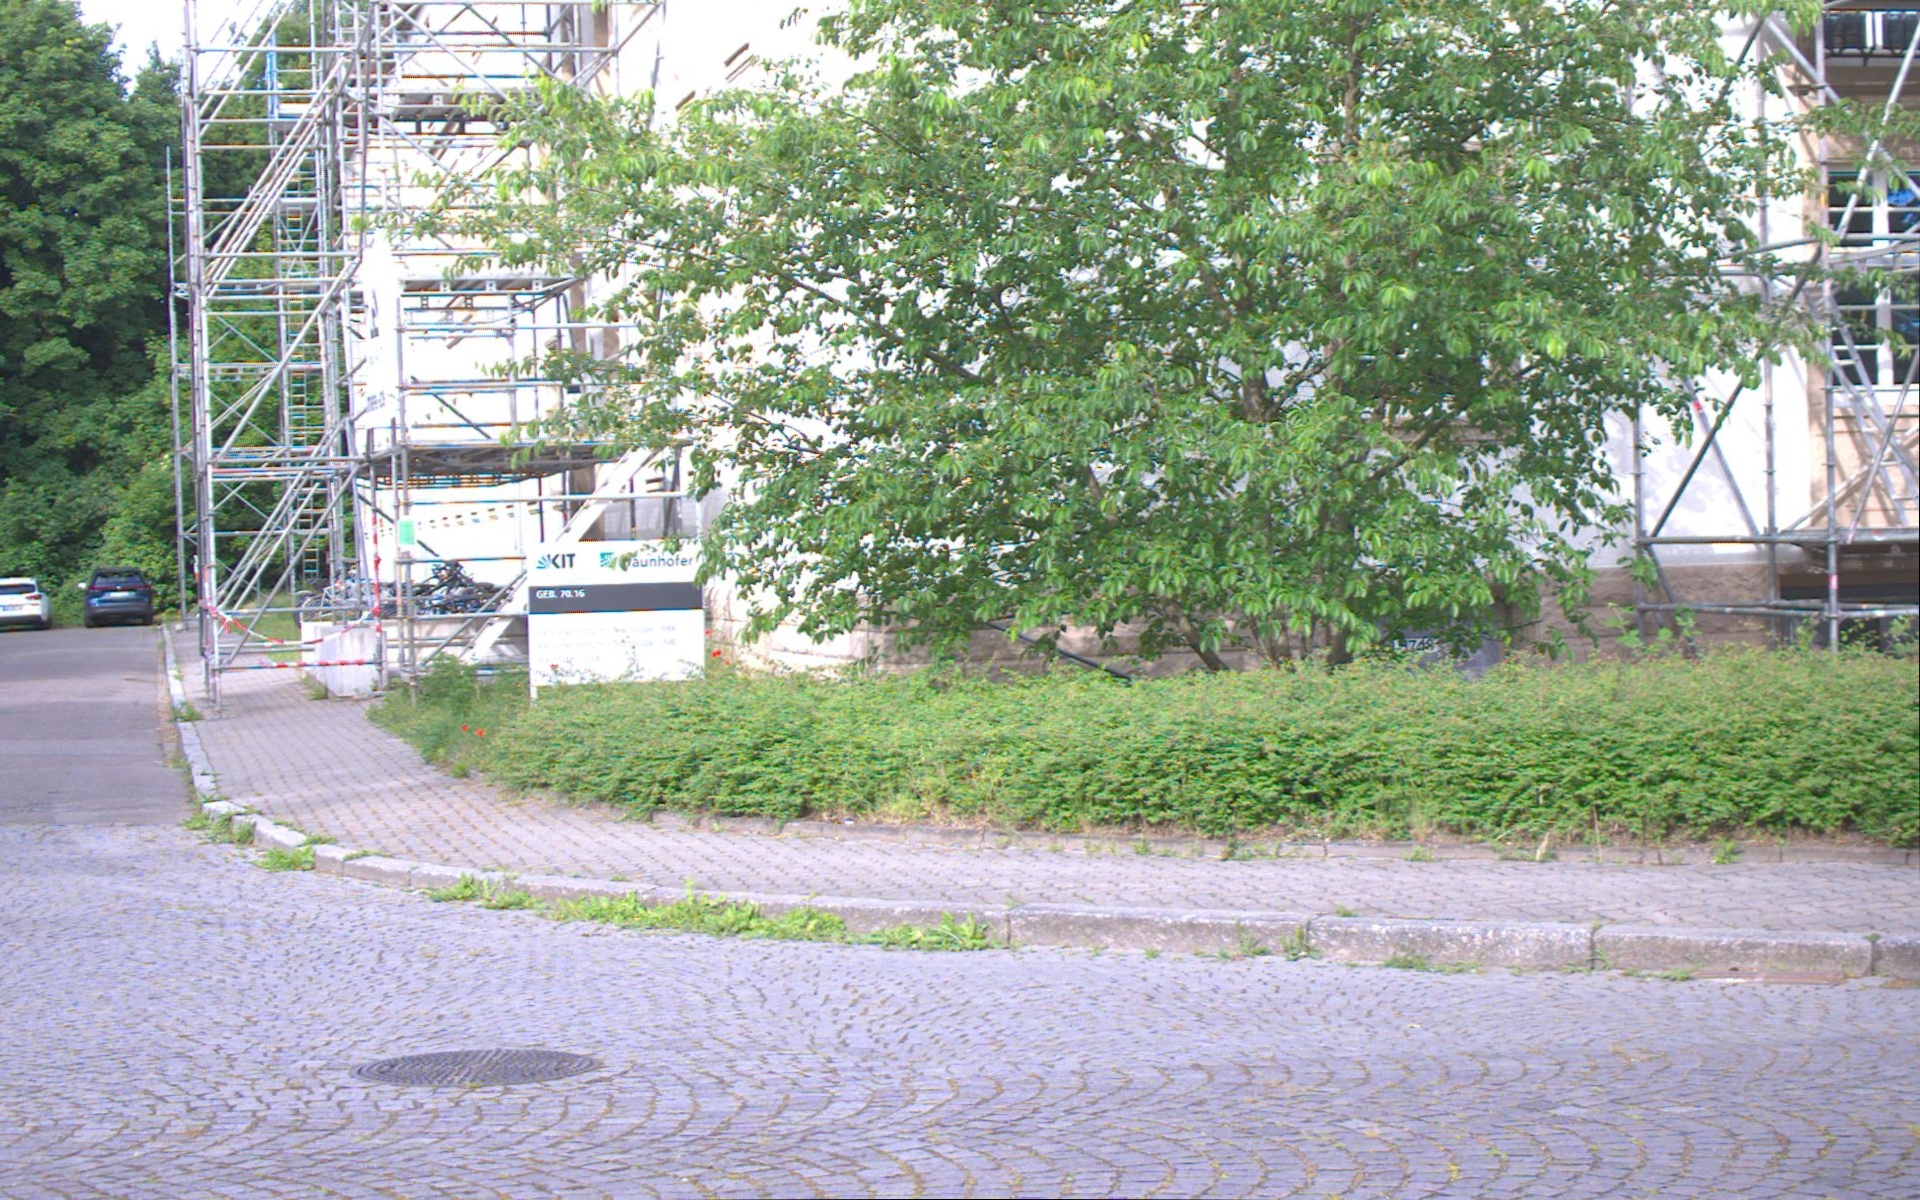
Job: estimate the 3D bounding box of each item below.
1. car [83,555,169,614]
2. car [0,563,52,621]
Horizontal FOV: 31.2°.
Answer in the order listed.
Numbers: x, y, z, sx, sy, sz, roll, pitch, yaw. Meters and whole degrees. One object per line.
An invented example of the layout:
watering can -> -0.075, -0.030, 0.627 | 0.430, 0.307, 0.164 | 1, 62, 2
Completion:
car -> -23.035, -0.417, 95.074 | 2.063, 1.588, 4.001 | 1, 0, -10
car -> -25.904, -0.209, 94.023 | 2.001, 1.543, 3.959 | 1, 0, -16
